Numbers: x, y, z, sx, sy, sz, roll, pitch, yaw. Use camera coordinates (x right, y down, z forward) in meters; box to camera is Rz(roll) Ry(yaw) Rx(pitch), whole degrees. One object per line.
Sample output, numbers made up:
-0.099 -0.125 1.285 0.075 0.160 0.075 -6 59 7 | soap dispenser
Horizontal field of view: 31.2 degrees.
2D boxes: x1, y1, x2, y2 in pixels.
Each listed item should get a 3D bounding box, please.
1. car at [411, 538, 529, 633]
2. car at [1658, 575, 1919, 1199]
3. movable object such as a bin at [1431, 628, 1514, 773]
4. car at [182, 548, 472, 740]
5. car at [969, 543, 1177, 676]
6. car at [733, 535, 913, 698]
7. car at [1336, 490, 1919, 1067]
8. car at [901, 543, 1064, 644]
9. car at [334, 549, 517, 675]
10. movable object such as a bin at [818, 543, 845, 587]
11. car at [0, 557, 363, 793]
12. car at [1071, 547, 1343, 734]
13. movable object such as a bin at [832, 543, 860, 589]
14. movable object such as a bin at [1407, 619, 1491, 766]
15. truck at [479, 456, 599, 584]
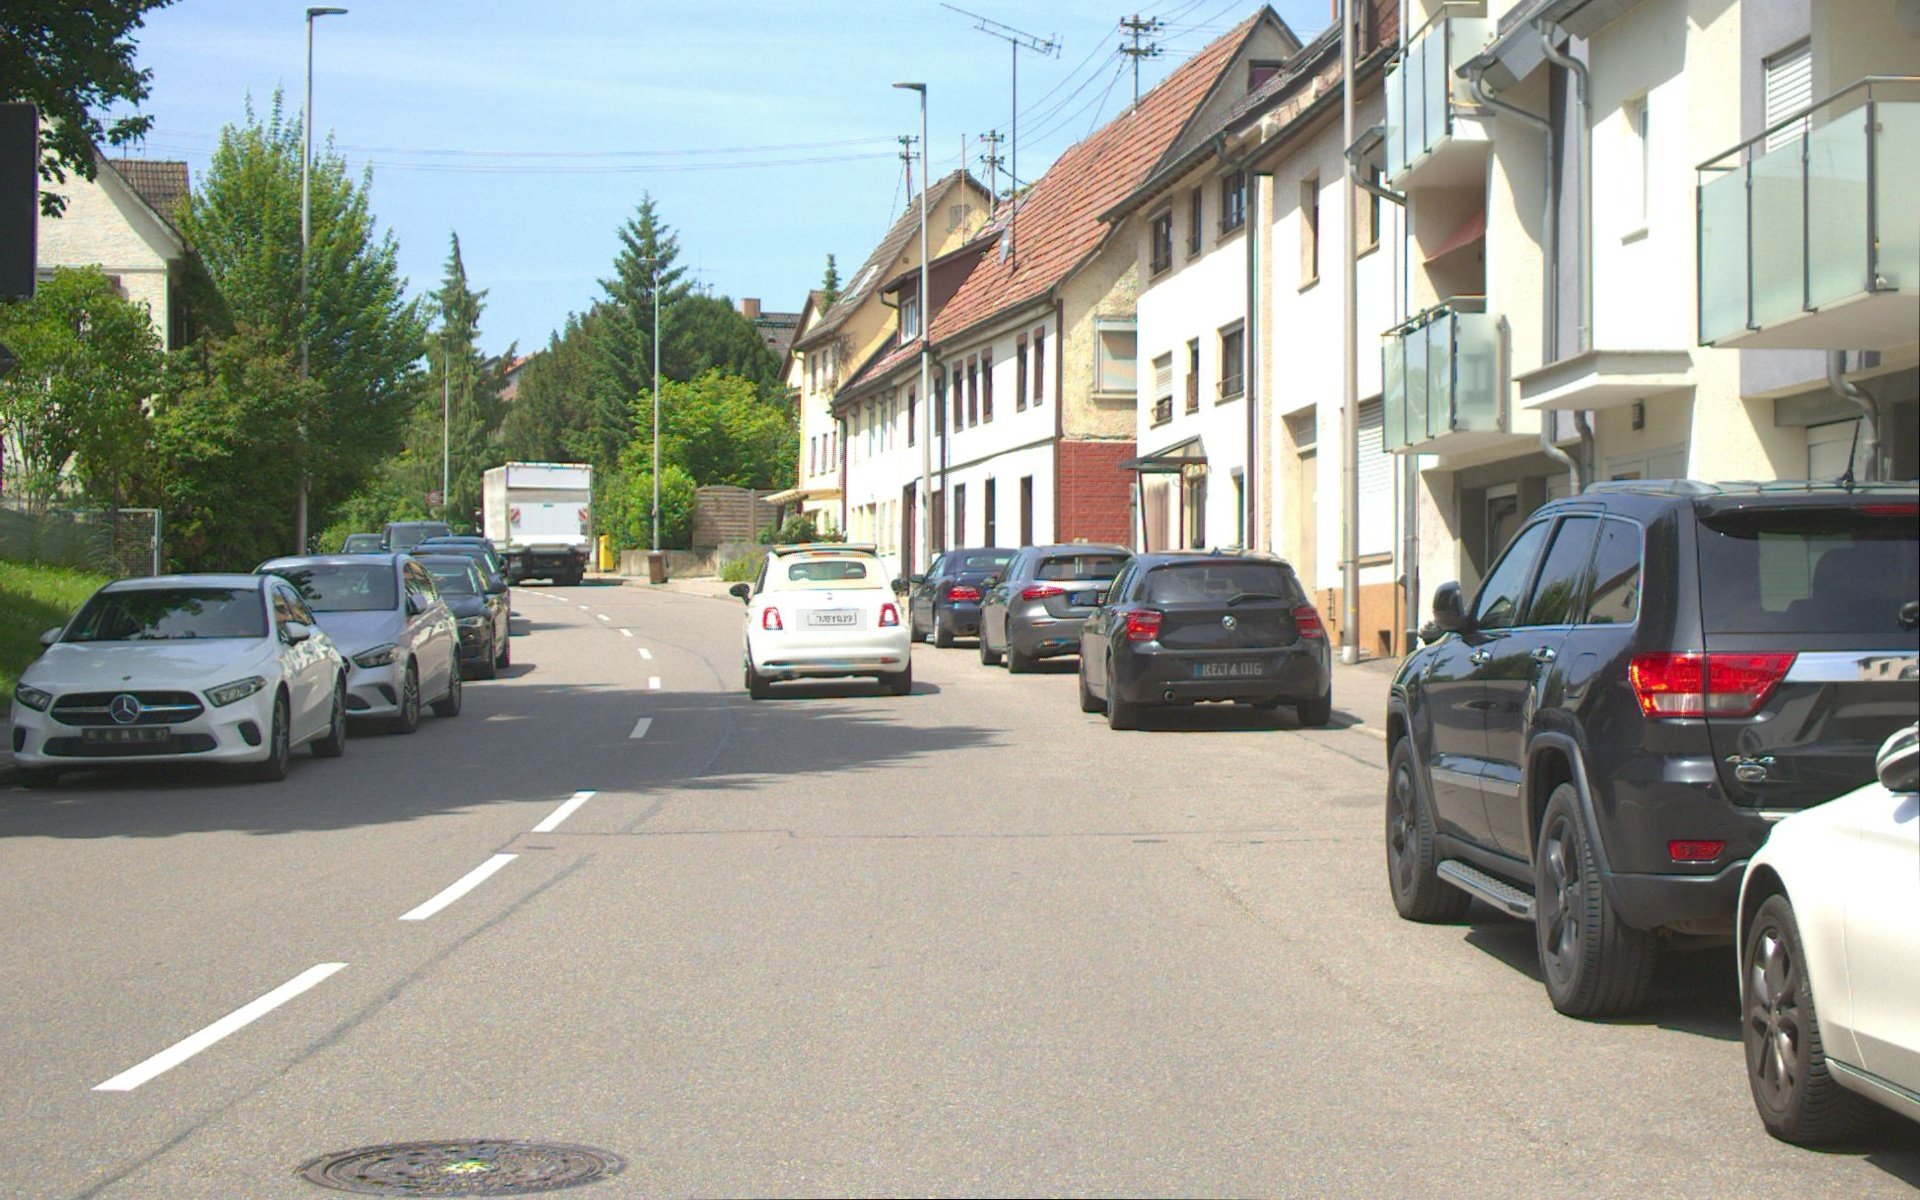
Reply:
-7.983 -0.268 55.826 1.788 1.458 4.713 -1 1 -9 | car
2.946 0.699 7.188 1.788 1.450 4.717 0 1 -3 | car
3.364 0.657 22.602 0.431 0.921 0.491 -2 1 -3 | movable object such as a bin
-5.551 0.337 30.629 1.772 1.522 4.222 -2 1 0 | car
1.239 0.069 39.733 1.793 1.398 4.413 -1 1 -6 | car
-1.378 0.130 35.330 1.725 1.555 4.000 -1 1 -1 | car
2.746 0.482 12.656 1.953 1.710 4.717 -1 1 -3 | car
0.267 -0.119 48.340 1.665 1.348 4.188 0 1 -9 | car
-6.518 0.096 42.337 1.804 1.419 4.929 -1 1 -4 | car
-3.059 -0.838 81.812 0.546 1.030 0.552 -3 2 -10 | movable object such as a bin
-5.500 0.462 24.654 1.754 1.462 4.363 -2 1 -2 | car
1.991 0.293 28.861 1.797 1.420 4.290 -1 1 -2 | car
-2.654 -0.799 80.150 0.546 1.030 0.552 -3 2 -10 | movable object such as a bin
3.306 0.621 23.263 0.431 0.953 0.517 -2 1 -3 | movable object such as a bin
-12.958 -2.380 105.266 3.067 3.761 7.870 -1 0 -11 | truck
